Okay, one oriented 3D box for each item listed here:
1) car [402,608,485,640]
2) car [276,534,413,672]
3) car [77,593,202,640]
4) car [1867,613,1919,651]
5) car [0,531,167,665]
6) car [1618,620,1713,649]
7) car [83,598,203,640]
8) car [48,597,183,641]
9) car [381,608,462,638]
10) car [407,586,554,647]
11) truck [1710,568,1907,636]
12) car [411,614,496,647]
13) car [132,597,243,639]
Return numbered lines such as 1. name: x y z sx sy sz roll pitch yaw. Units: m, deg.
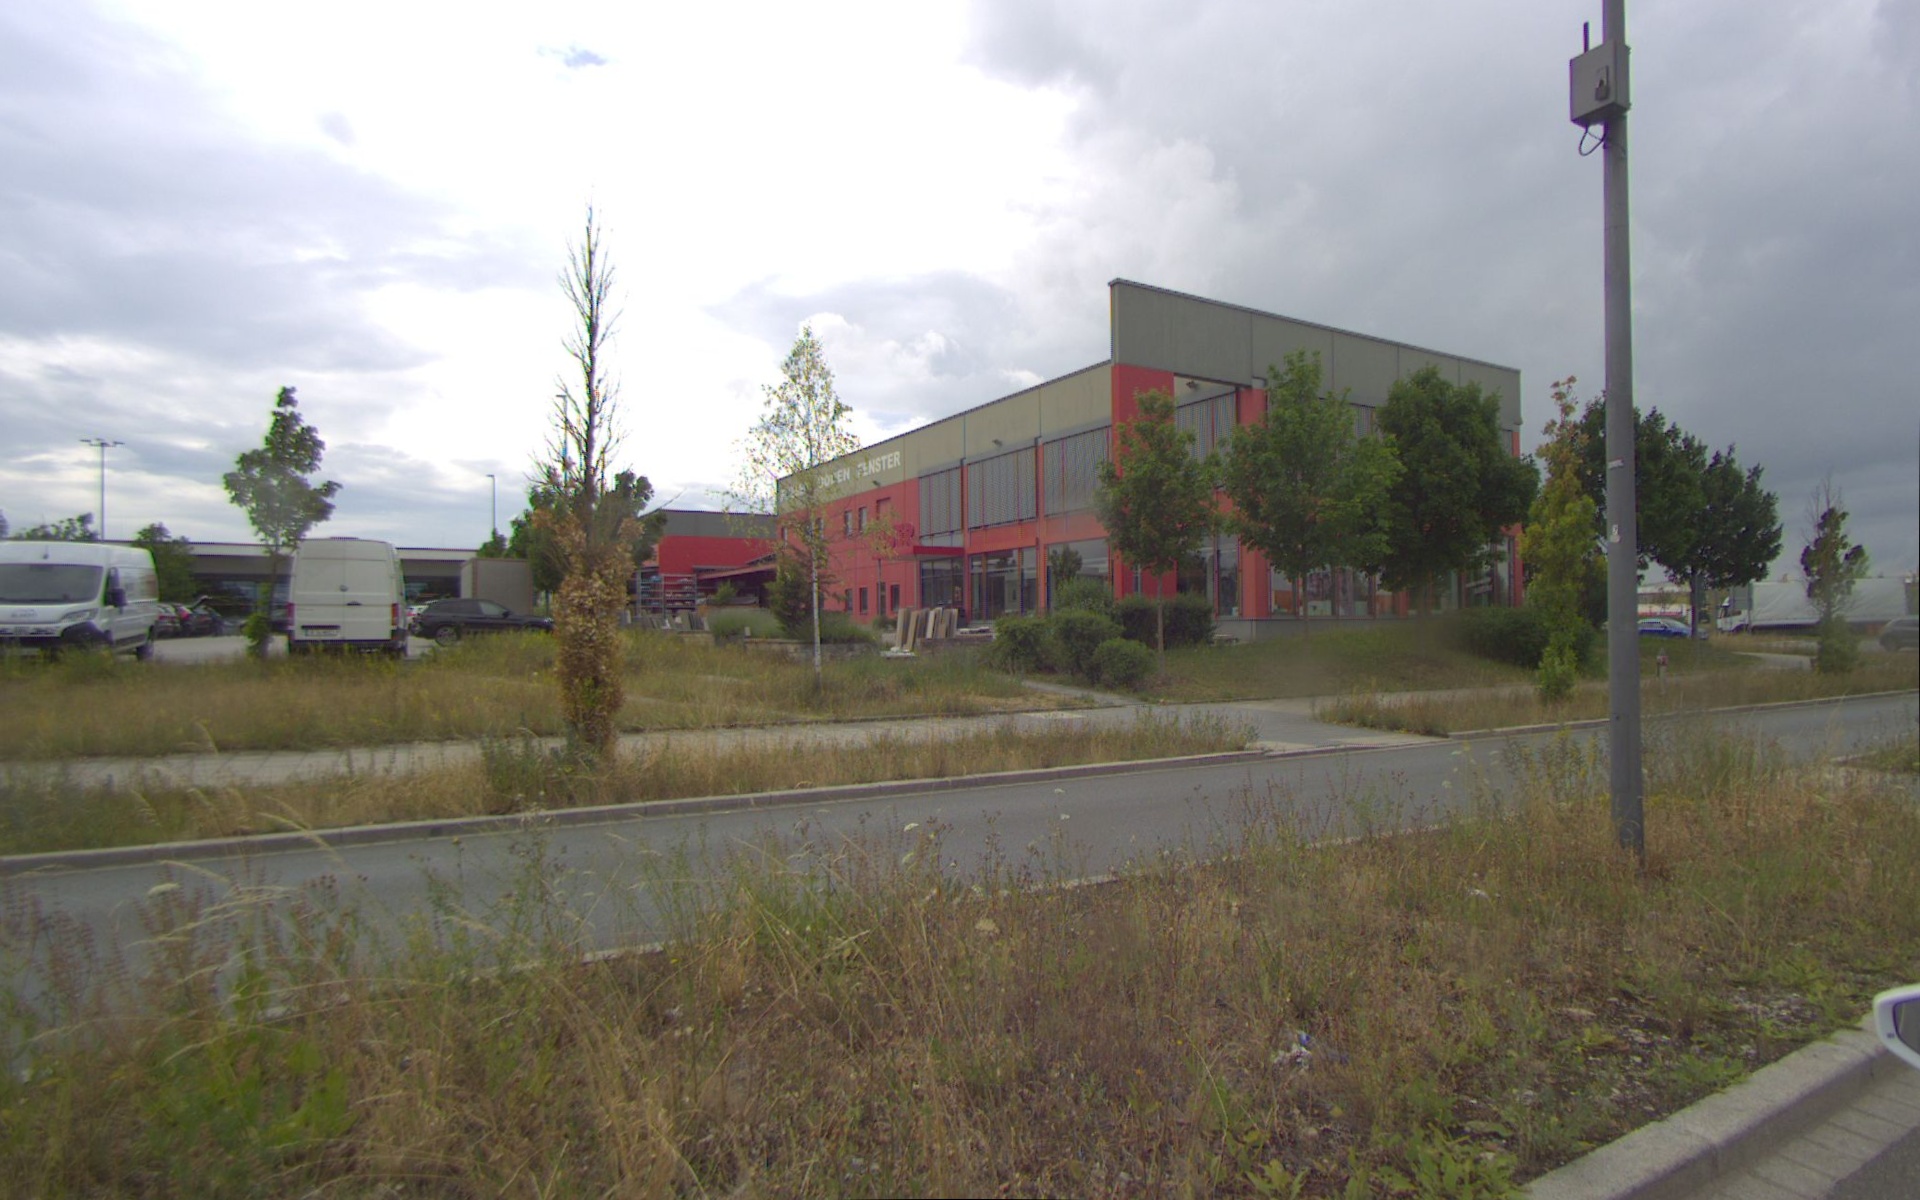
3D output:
1. car: -28.426 1.328 55.272 3.954 1.673 1.984 1 -2 -31
2. car: -13.542 0.120 22.474 2.216 2.633 6.381 1 -1 -28
3. car: -36.931 0.752 45.334 3.944 2.040 1.989 1 -1 -24
4. car: 41.198 1.325 42.438 2.024 1.613 4.206 -1 -2 3
5. car: -17.963 0.020 20.221 2.184 2.337 6.041 1 -1 -29
6. car: 40.352 2.001 57.564 1.816 1.548 4.217 0 -3 -15
7. car: -38.471 0.922 47.411 3.944 1.922 1.989 1 -1 -24
8. car: -34.034 0.768 40.631 3.960 1.693 1.981 1 -1 -35
9. car: -30.662 1.324 57.206 3.954 1.673 1.984 1 -2 -31
10. car: -17.226 0.610 36.156 4.587 2.060 1.983 1 -2 -32
11. truck: 52.832 0.227 62.996 9.186 3.958 3.132 -1 -2 37
12. car: -27.001 1.611 53.519 3.953 1.673 1.984 1 -2 -31
13. car: -38.747 0.917 50.482 3.935 2.040 1.993 0 -1 -17
